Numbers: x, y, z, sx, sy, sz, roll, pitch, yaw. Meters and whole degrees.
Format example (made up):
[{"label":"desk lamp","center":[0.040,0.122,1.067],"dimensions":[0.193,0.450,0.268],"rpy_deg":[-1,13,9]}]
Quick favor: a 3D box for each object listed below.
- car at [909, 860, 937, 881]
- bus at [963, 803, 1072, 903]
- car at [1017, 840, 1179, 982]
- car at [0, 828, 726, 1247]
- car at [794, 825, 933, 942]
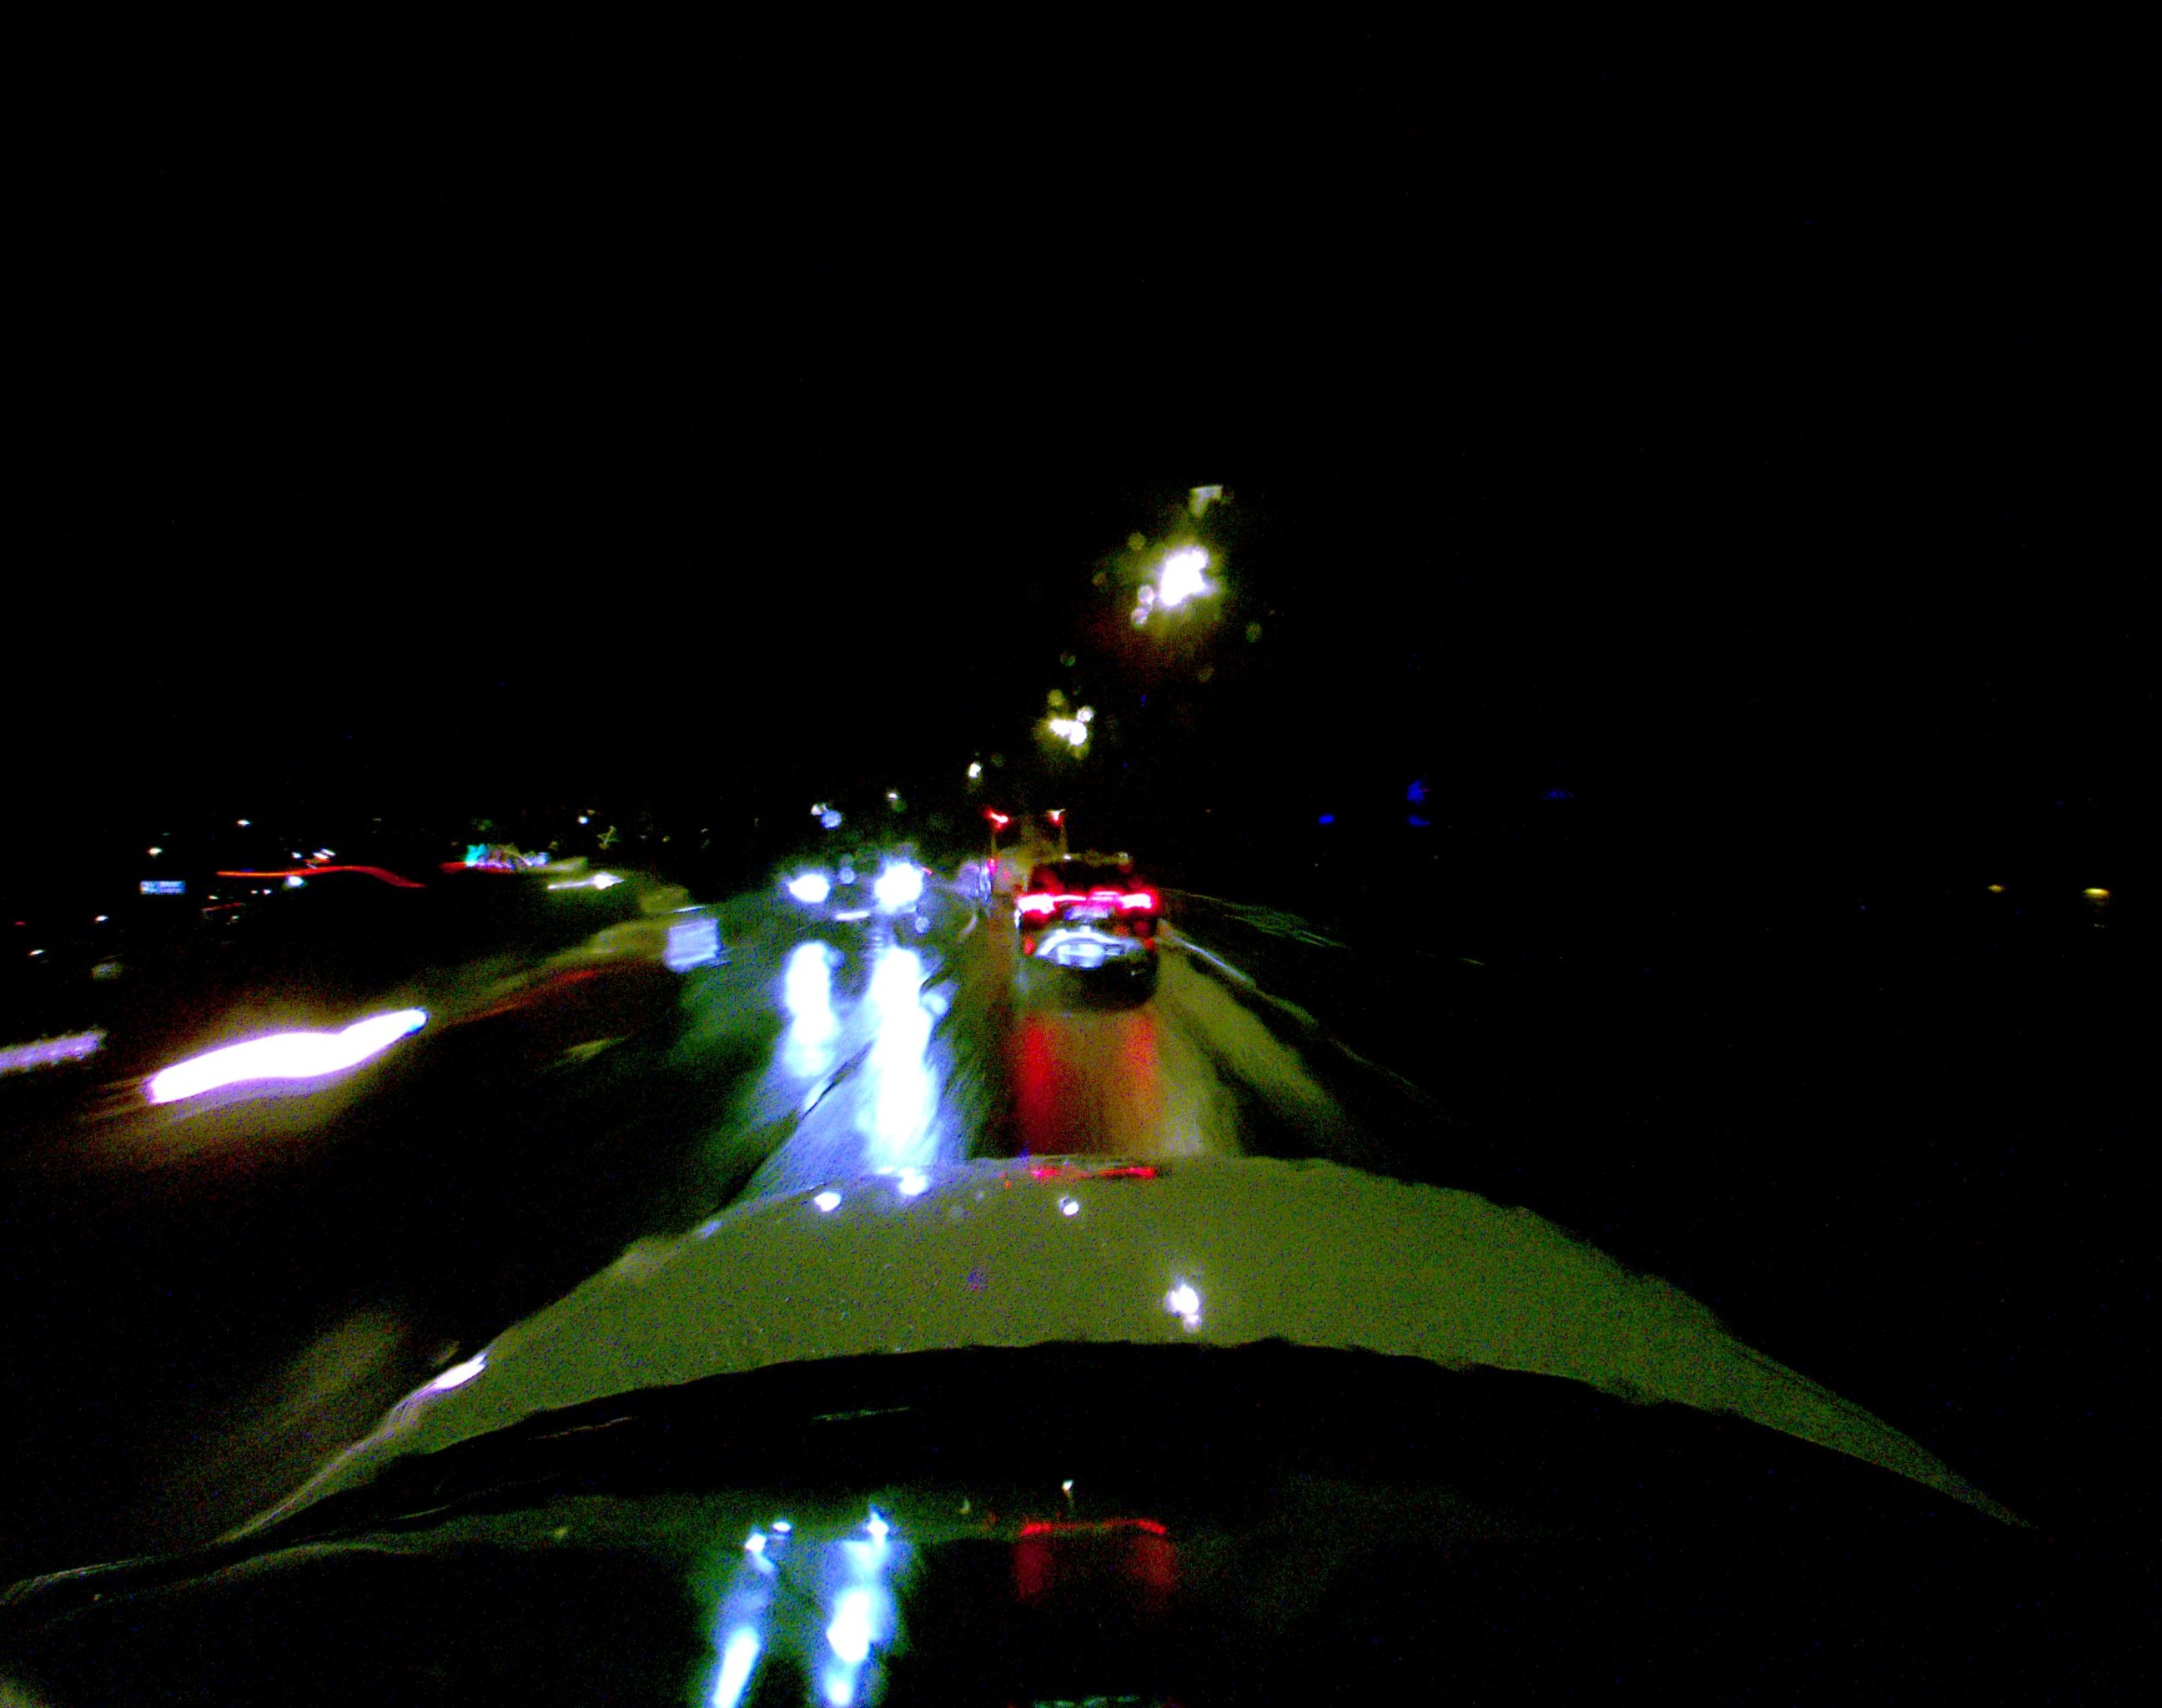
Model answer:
[{"label":"car","center":[-13.364,1.445,68.777],"dimensions":[1.643,1.656,3.681],"rpy_deg":[-1,-2,-22]},{"label":"bus","center":[-2.935,-0.021,32.471],"dimensions":[3.084,3.133,12.653],"rpy_deg":[-2,0,-10]},{"label":"car","center":[0.083,0.666,11.374],"dimensions":[1.852,1.586,3.995],"rpy_deg":[-1,0,-4]},{"label":"car","center":[-4.012,0.694,5.195],"dimensions":[1.787,1.630,3.991],"rpy_deg":[-1,1,-1]},{"label":"car","center":[-4.616,0.578,18.127],"dimensions":[2.040,2.170,5.146],"rpy_deg":[-2,-1,-5]}]
